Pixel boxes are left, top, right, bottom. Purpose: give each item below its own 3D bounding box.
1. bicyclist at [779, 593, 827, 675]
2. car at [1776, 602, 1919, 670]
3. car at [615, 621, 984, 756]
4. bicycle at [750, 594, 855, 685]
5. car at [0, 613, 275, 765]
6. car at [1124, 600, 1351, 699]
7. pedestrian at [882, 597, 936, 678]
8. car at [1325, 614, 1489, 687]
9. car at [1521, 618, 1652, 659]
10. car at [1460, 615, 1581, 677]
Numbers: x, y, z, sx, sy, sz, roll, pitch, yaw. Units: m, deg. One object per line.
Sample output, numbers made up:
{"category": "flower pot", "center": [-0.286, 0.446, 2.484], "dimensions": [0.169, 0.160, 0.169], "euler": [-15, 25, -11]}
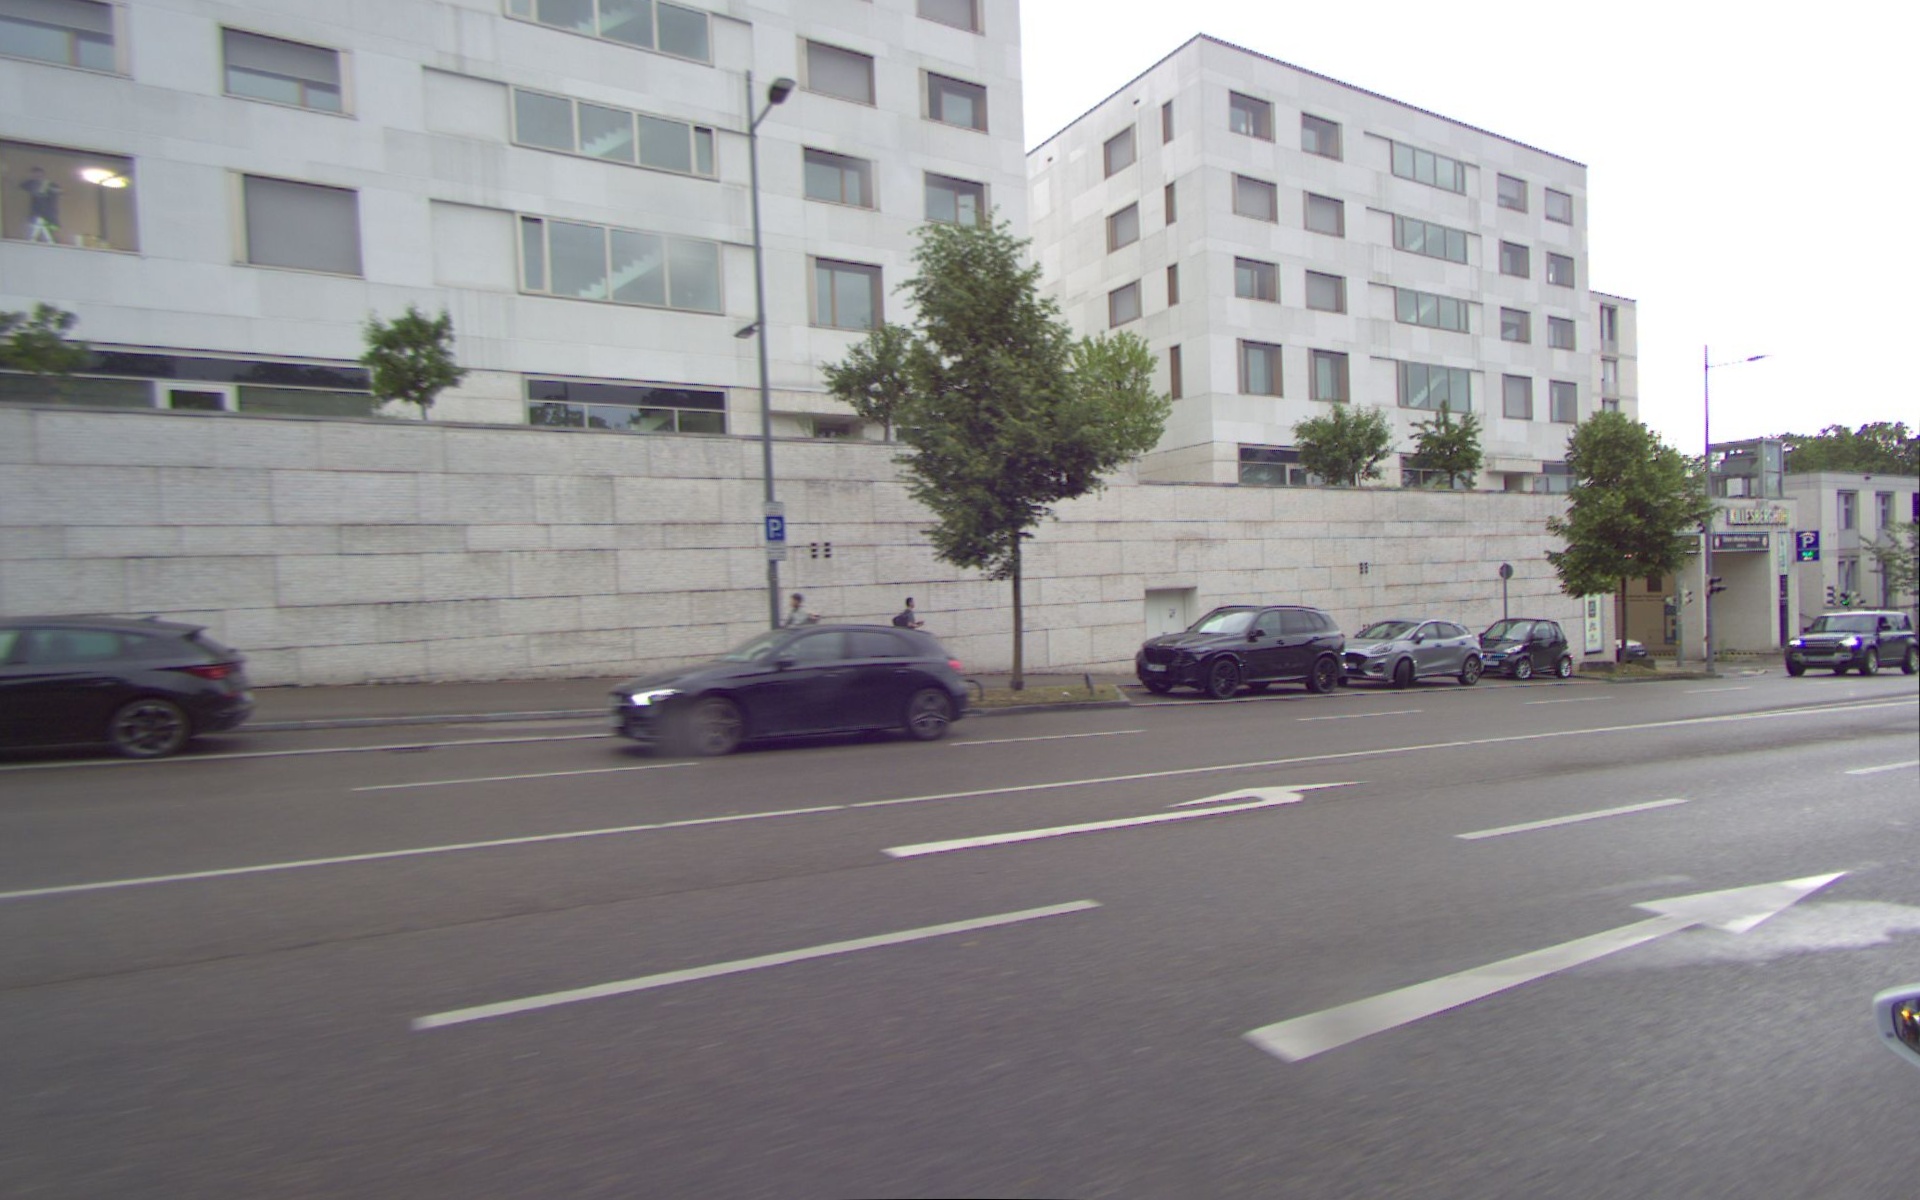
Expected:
{"category": "bicyclist", "center": [-3.035, 0.647, 19.375], "dimensions": [0.760, 1.538, 0.574], "euler": [1, 0, -31]}
{"category": "car", "center": [26.658, 1.088, 30.151], "dimensions": [4.455, 1.881, 1.911], "euler": [1, -4, -31]}
{"category": "car", "center": [-1.909, 0.982, 12.335], "dimensions": [4.142, 1.399, 1.762], "euler": [1, -2, -31]}
{"category": "bicycle", "center": [-3.031, 0.764, 19.385], "dimensions": [1.858, 1.679, 0.739], "euler": [1, -2, -31]}
{"category": "car", "center": [-9.729, 0.884, 10.653], "dimensions": [3.918, 1.445, 1.671], "euler": [1, 1, -30]}
{"category": "car", "center": [5.653, 0.929, 20.271], "dimensions": [4.545, 1.804, 1.847], "euler": [1, 0, -32]}
{"category": "pedestrian", "center": [-1.161, 0.840, 22.860], "dimensions": [1.009, 1.798, 0.704], "euler": [0, 0, -31]}
{"category": "car", "center": [10.397, 1.123, 23.326], "dimensions": [3.668, 1.535, 1.670], "euler": [1, 1, -31]}
{"category": "car", "center": [27.164, 1.639, 43.701], "dimensions": [1.906, 1.694, 4.478], "euler": [1, -1, -31]}
{"category": "car", "center": [14.914, 1.187, 26.725], "dimensions": [2.945, 1.535, 1.500], "euler": [1, 1, -30]}
